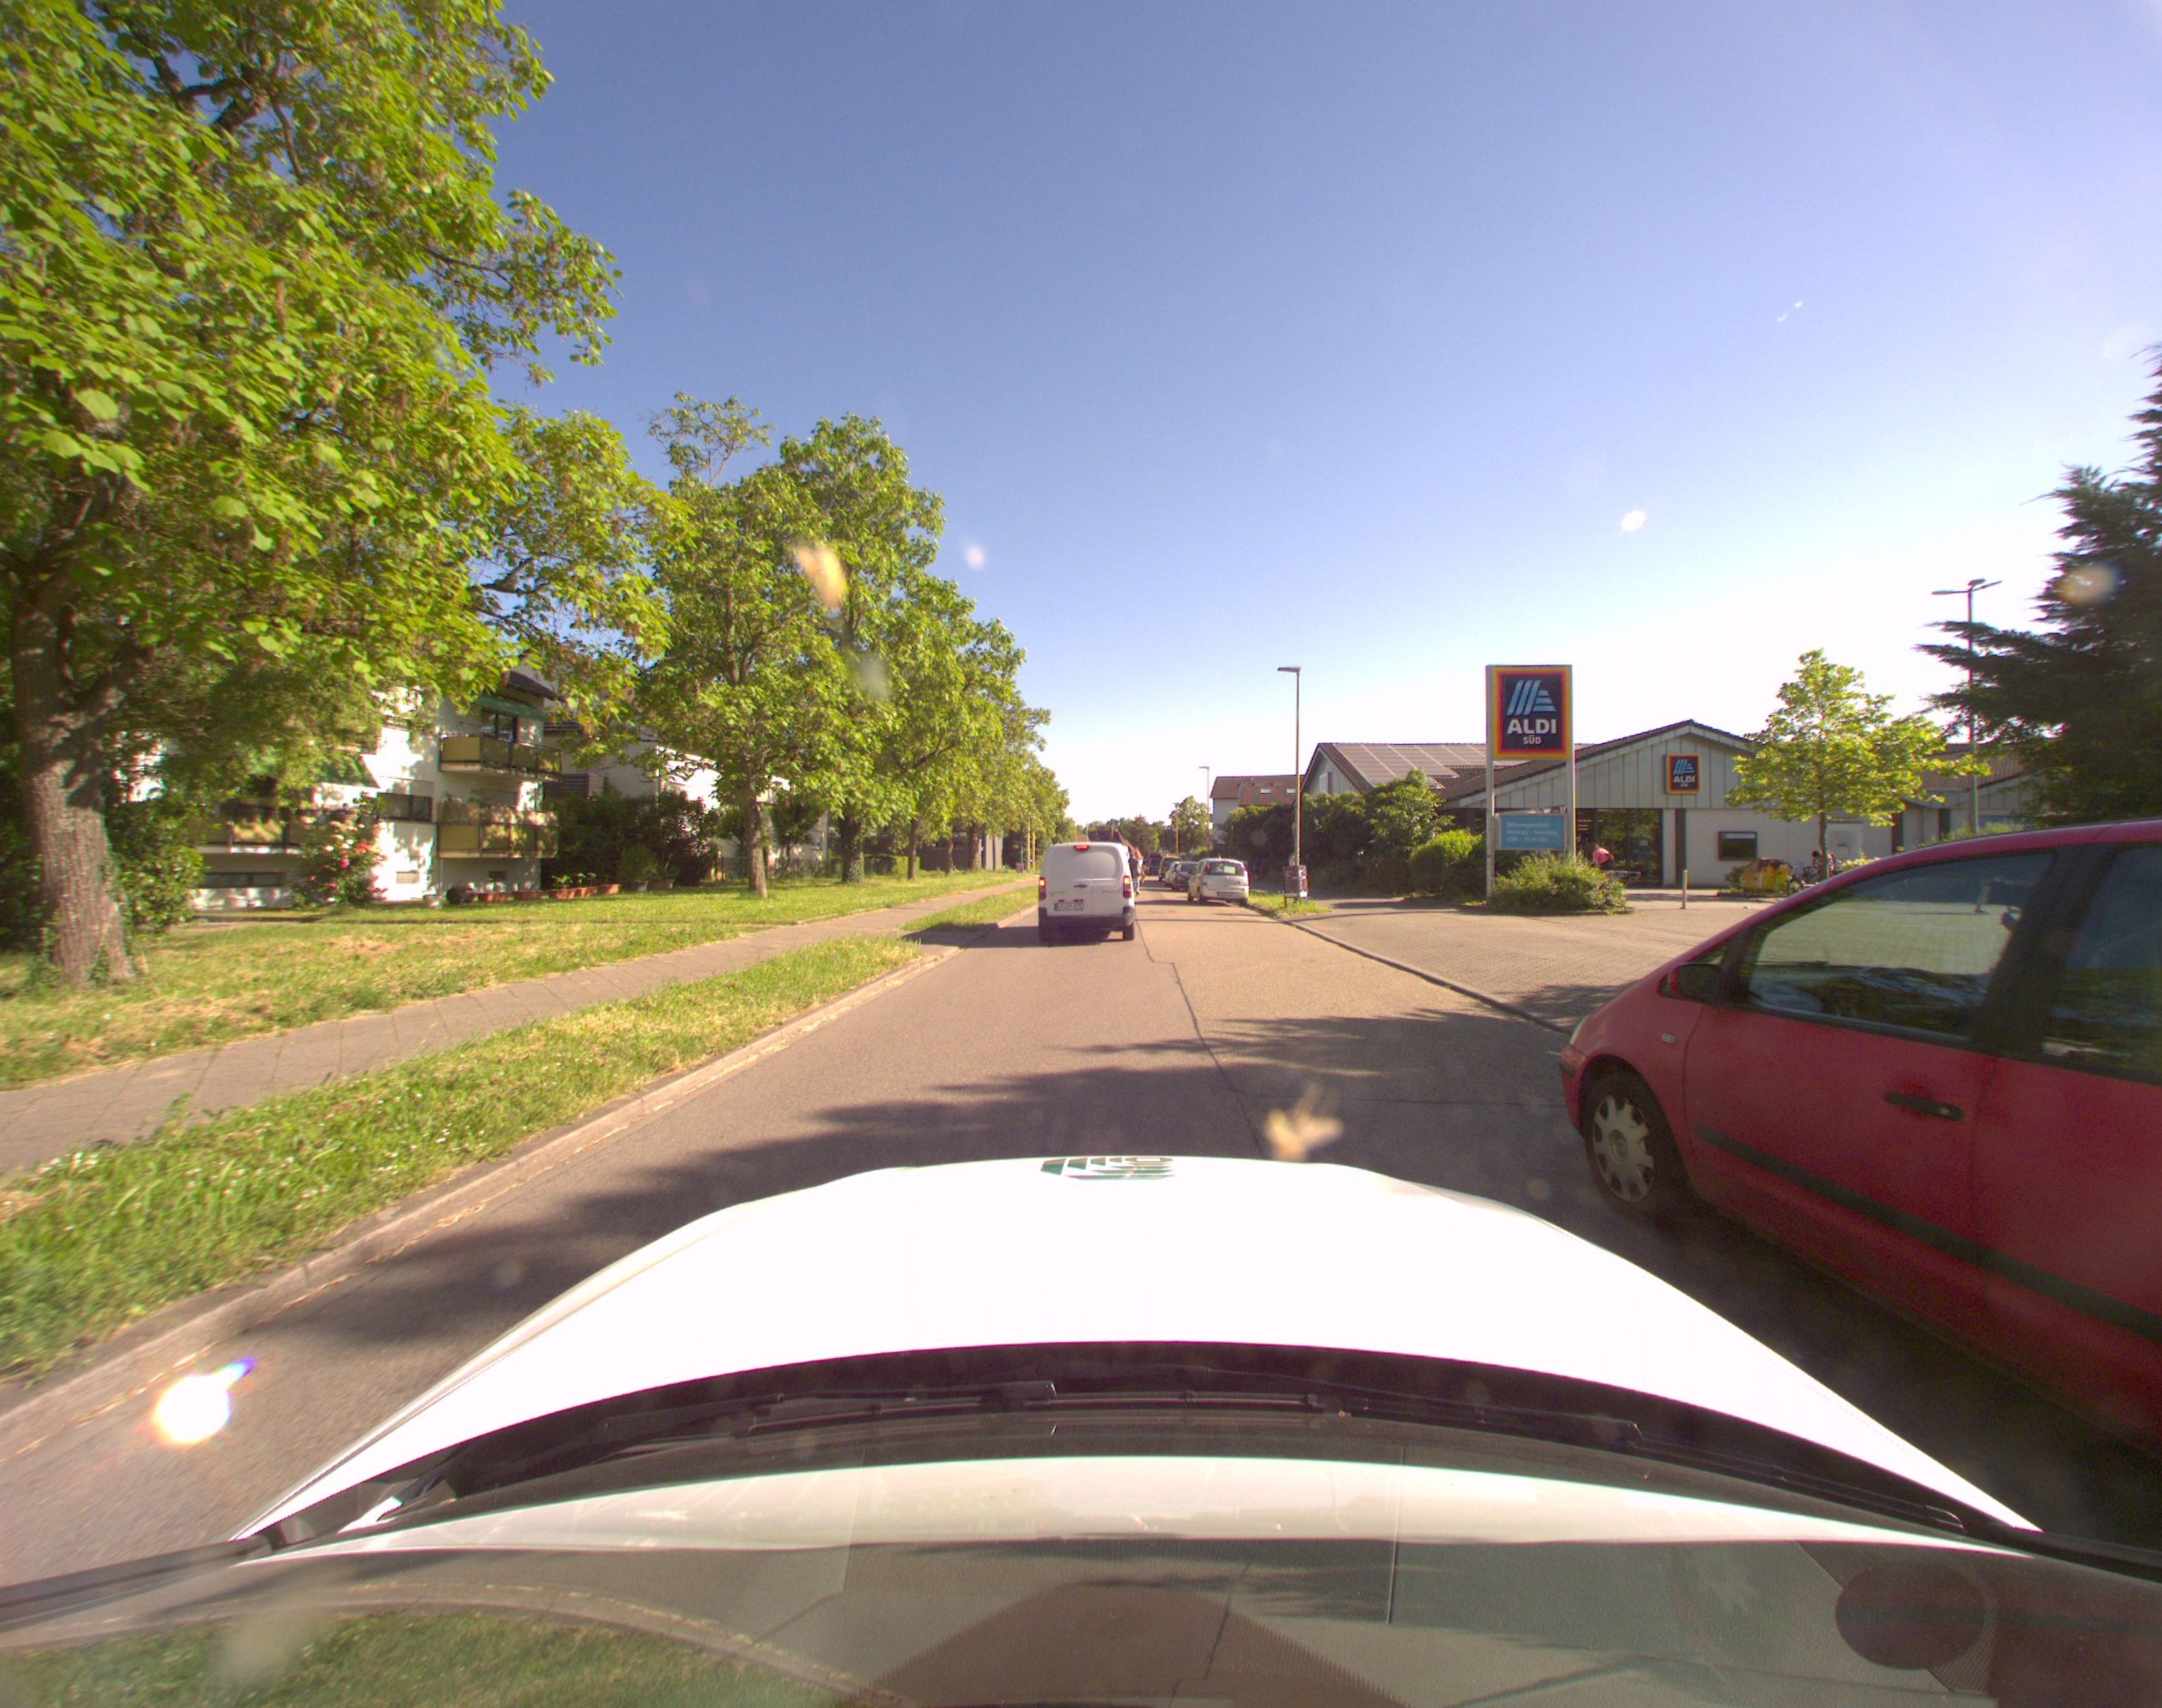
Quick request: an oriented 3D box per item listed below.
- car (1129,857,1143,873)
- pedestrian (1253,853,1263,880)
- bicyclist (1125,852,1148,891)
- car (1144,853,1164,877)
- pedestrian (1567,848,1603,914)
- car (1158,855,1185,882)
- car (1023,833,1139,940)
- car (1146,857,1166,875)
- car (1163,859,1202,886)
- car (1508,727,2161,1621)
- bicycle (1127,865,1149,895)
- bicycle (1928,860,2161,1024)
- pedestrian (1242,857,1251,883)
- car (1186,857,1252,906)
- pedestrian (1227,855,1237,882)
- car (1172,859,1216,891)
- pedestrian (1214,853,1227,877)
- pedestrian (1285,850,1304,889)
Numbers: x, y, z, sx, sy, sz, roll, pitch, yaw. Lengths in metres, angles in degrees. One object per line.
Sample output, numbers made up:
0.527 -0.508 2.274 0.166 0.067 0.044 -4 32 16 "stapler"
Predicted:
7.439 1.481 110.615 1.797 2.069 4.001 2 -1 2 "car"
11.150 0.784 51.397 0.563 1.637 0.548 0 -1 8 "pedestrian"
2.243 0.711 33.011 0.902 1.584 0.967 1 -2 1 "bicyclist"
8.174 1.211 91.673 1.859 2.563 4.769 2 -1 2 "car"
12.789 0.668 20.677 0.685 1.631 0.781 0 -1 24 "pedestrian"
6.367 1.001 57.712 1.716 1.837 4.004 0 -1 4 "car"
0.149 0.588 16.549 1.984 1.882 4.294 0 0 5 "car"
7.756 1.270 84.268 1.797 1.785 4.001 2 -1 2 "car"
5.702 1.009 46.091 1.819 1.452 4.001 0 -1 2 "car"
3.139 0.650 2.180 1.832 1.805 4.658 0 0 4 "car"
2.287 1.033 33.053 0.784 1.138 2.280 0 0 1 "bicycle"
8.420 0.684 7.018 0.714 1.221 1.905 -2 -2 19 "bicycle"
10.463 1.029 51.462 0.563 1.637 0.548 0 -1 8 "pedestrian"
4.823 0.943 28.954 1.674 1.599 4.027 1 -1 0 "car"
9.161 0.883 49.300 0.563 1.637 0.548 0 -1 8 "pedestrian"
5.465 0.985 39.855 1.799 1.443 4.367 1 0 3 "car"
10.817 0.879 63.329 0.792 1.861 0.873 1 -1 -4 "pedestrian"
9.830 0.710 37.485 0.793 1.782 0.811 0 -1 11 "pedestrian"
